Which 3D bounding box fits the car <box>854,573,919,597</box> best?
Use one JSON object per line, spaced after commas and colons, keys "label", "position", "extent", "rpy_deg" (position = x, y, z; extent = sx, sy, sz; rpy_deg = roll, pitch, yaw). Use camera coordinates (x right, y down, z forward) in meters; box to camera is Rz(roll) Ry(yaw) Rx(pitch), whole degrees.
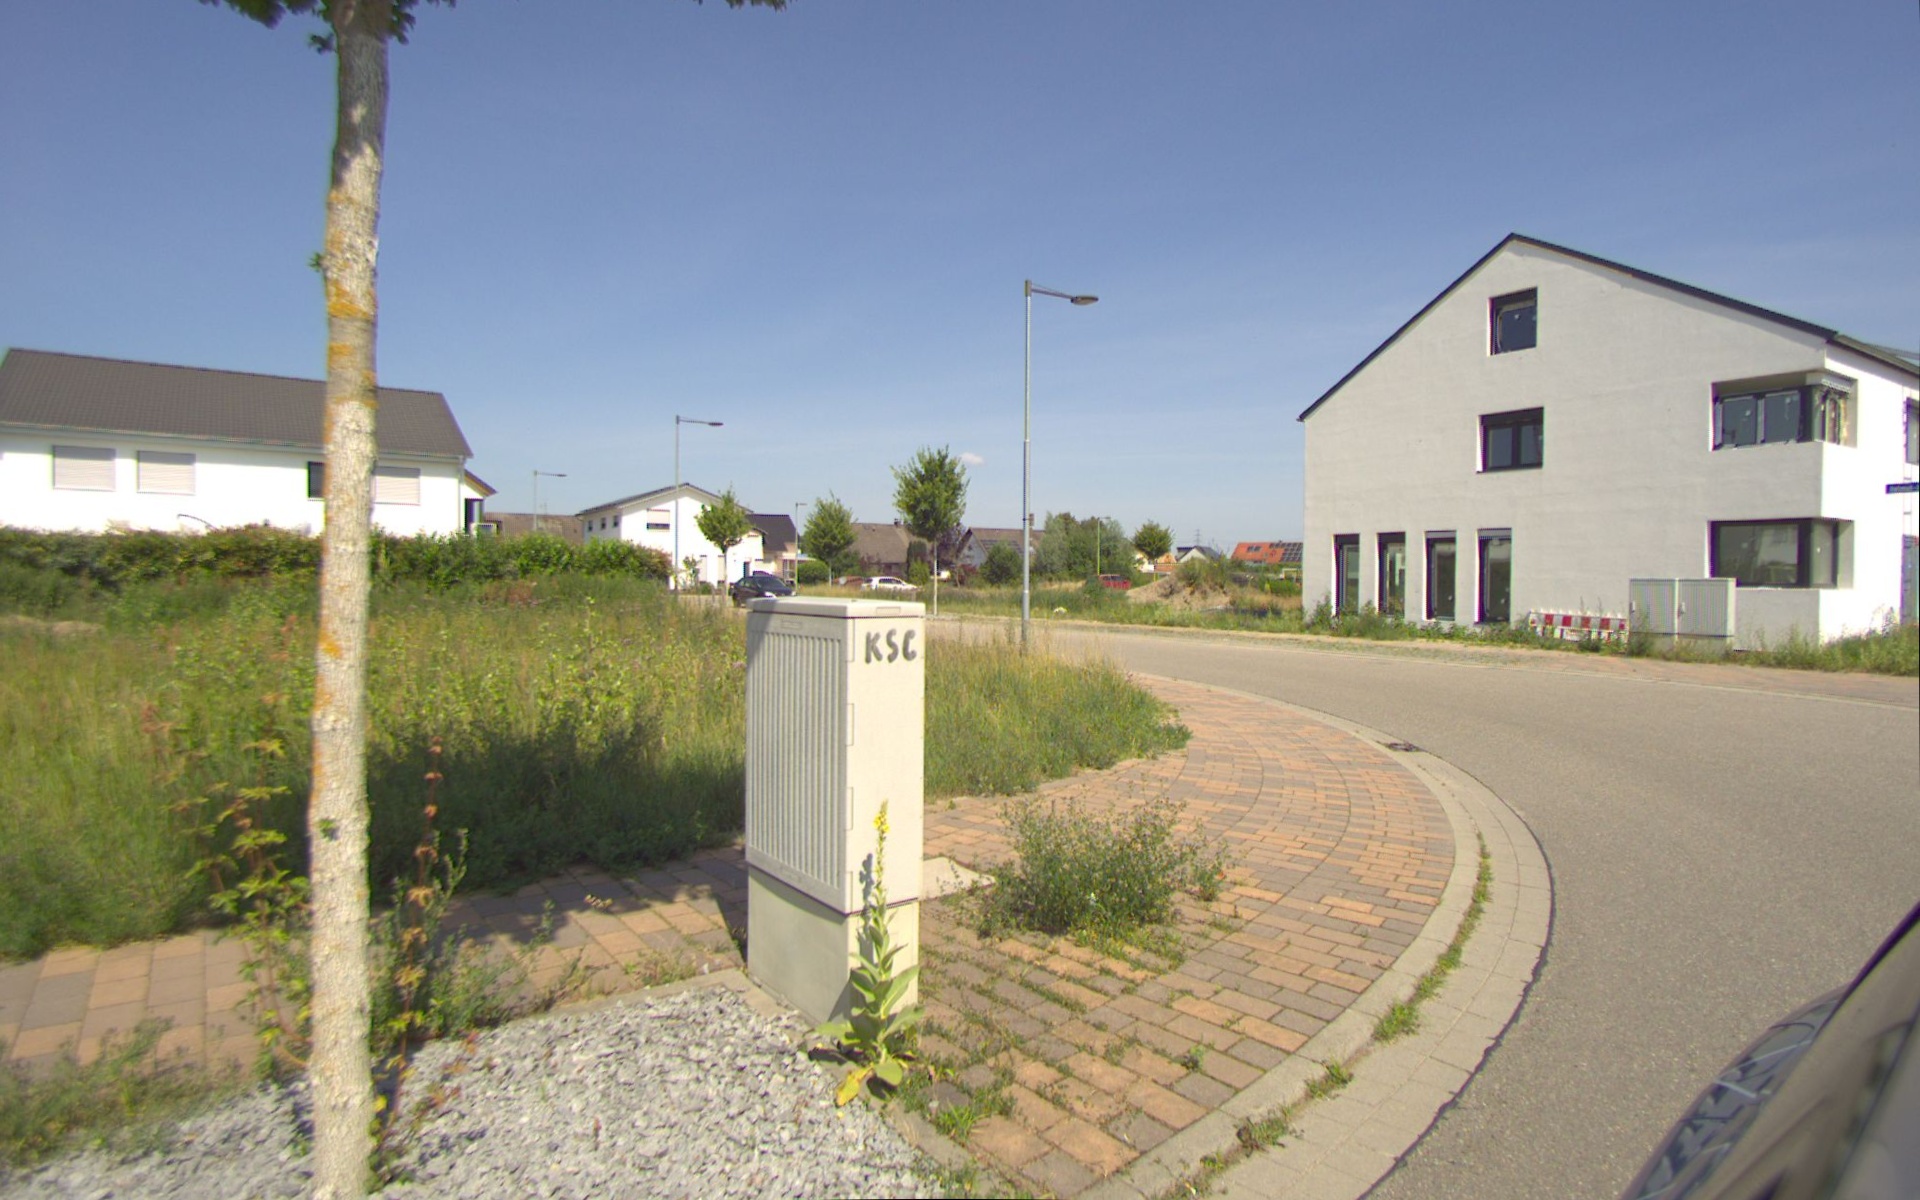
{"label": "car", "position": [-4.837, -0.993, 66.817], "extent": [3.920, 1.521, 1.812], "rpy_deg": [0, 1, -29]}

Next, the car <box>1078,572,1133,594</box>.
{"label": "car", "position": [11.095, -1.312, 76.865], "extent": [3.922, 1.636, 1.810], "rpy_deg": [0, 1, -33]}

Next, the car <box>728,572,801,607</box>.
{"label": "car", "position": [-8.935, -0.532, 46.042], "extent": [1.783, 1.471, 4.145], "rpy_deg": [-3, 3, -34]}
